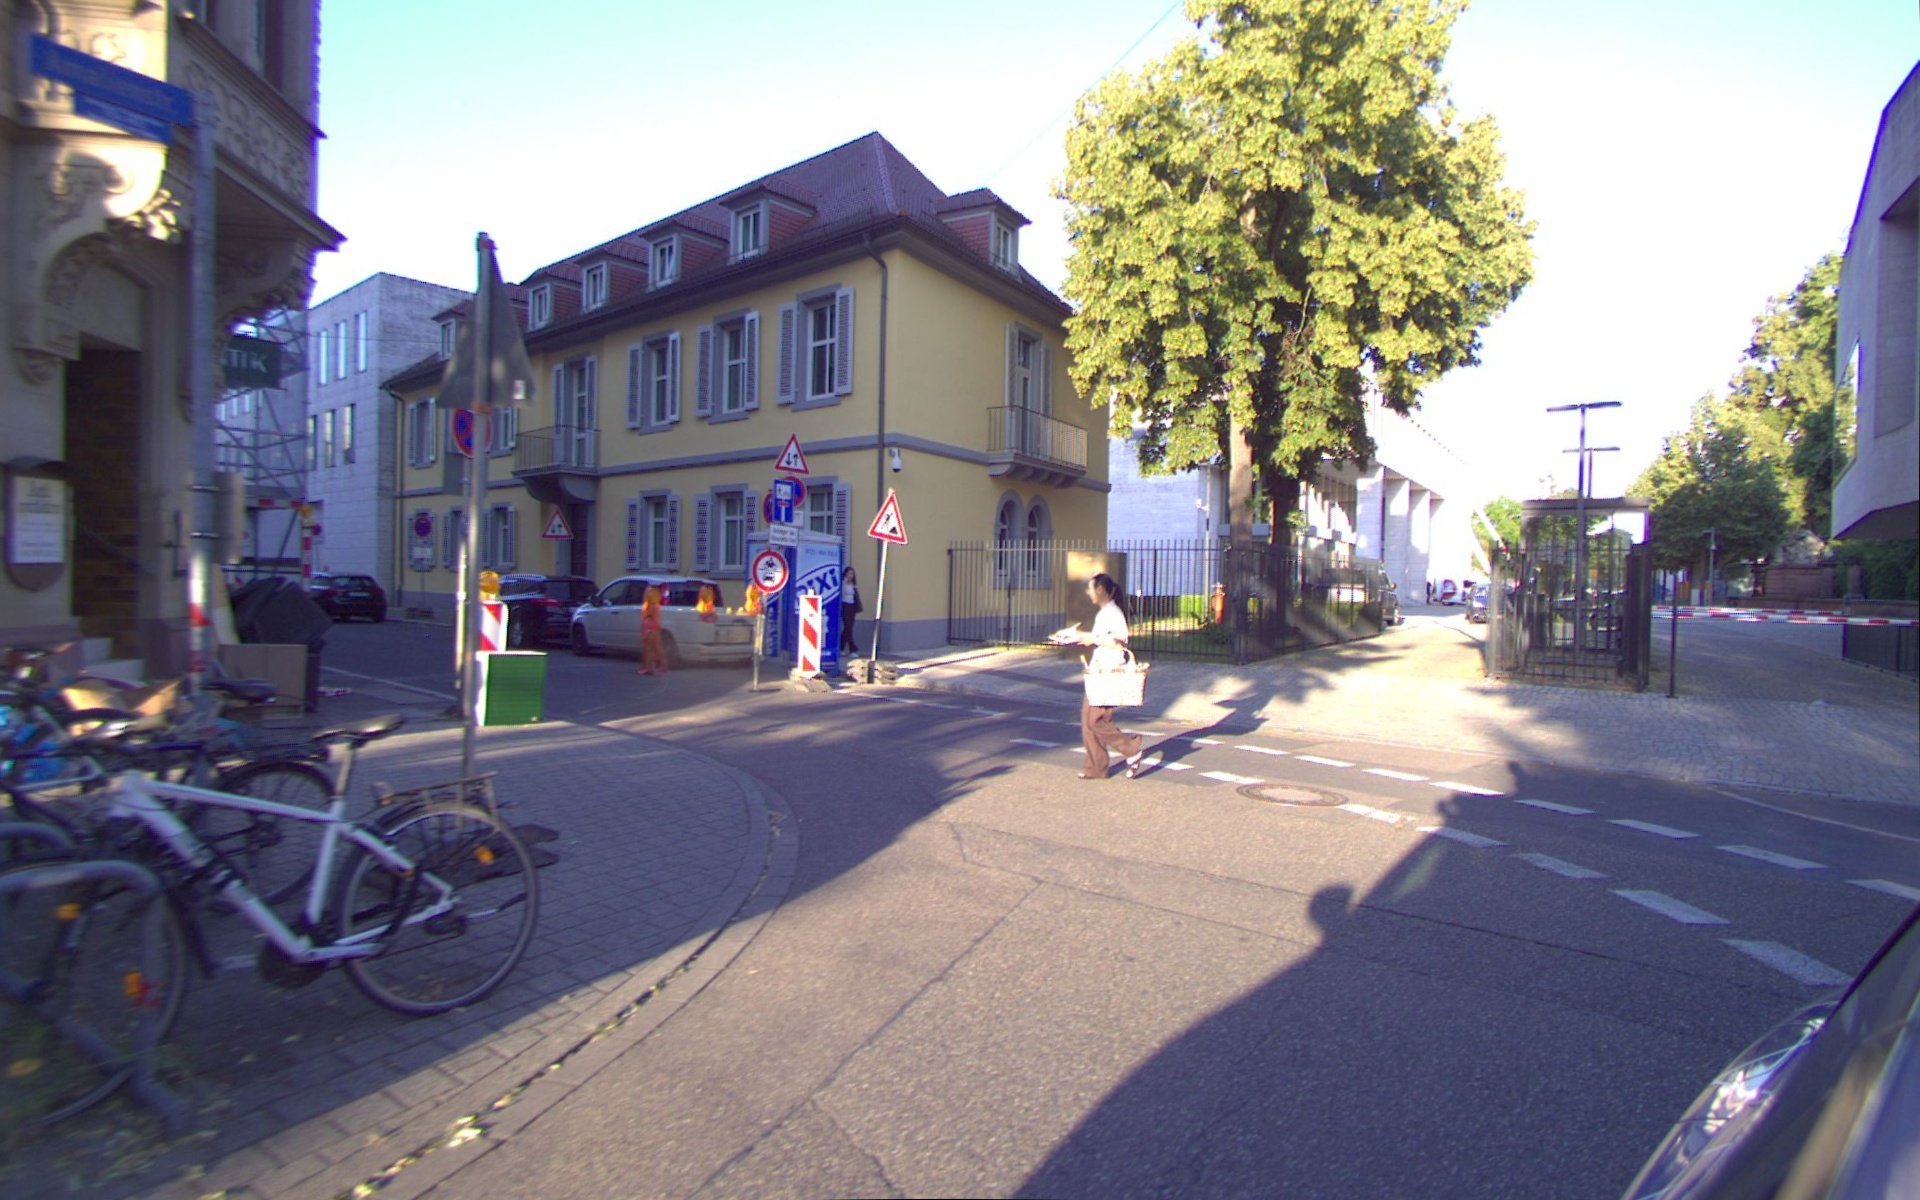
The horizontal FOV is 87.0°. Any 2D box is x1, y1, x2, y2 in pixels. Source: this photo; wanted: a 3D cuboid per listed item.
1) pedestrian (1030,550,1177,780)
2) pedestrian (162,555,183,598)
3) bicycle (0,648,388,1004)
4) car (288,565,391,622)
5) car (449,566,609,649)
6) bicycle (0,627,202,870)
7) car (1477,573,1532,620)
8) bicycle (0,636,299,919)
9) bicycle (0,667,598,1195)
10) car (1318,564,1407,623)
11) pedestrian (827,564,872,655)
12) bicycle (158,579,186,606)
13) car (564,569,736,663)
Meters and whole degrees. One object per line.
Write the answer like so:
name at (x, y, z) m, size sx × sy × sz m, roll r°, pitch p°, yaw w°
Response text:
pedestrian at (1.084, 0.471, 7.784) m, size 0.940 × 1.679 × 0.641 m, roll 0°, pitch 1°, yaw -11°
pedestrian at (-27.272, -0.807, 35.054) m, size 0.511 × 1.479 × 0.498 m, roll 2°, pitch 1°, yaw 44°
bicycle at (-3.132, 0.748, 3.630) m, size 0.634 × 1.026 × 1.813 m, roll 2°, pitch 1°, yaw 30°
car at (-17.931, -0.212, 29.200) m, size 3.209 × 1.539 × 1.697 m, roll 2°, pitch 1°, yaw 42°
car at (-9.102, 0.110, 21.231) m, size 3.964 × 1.539 × 1.522 m, roll 2°, pitch 0°, yaw 42°
bicycle at (-4.648, 0.690, 4.457) m, size 0.461 × 1.053 × 2.088 m, roll 2°, pitch 1°, yaw 30°
car at (19.926, -0.171, 37.068) m, size 1.695 × 1.604 × 3.644 m, roll 1°, pitch 2°, yaw 28°
bicycle at (-3.977, 0.719, 4.126) m, size 0.634 × 1.026 × 2.088 m, roll 2°, pitch 1°, yaw 30°
bicycle at (-2.034, 0.808, 3.024) m, size 0.567 × 1.060 × 1.810 m, roll 2°, pitch 1°, yaw 33°
car at (13.496, -0.260, 33.813) m, size 1.700 × 1.757 × 4.011 m, roll 4°, pitch 3°, yaw 37°
pedestrian at (-2.007, 0.152, 18.364) m, size 0.671 × 1.614 × 0.461 m, roll 2°, pitch 1°, yaw 44°
bicycle at (-27.319, -0.261, 35.089) m, size 1.471 × 0.895 × 0.498 m, roll 2°, pitch 2°, yaw 41°
car at (-5.677, 0.246, 18.384) m, size 3.209 × 1.539 × 1.522 m, roll 2°, pitch 0°, yaw 42°
